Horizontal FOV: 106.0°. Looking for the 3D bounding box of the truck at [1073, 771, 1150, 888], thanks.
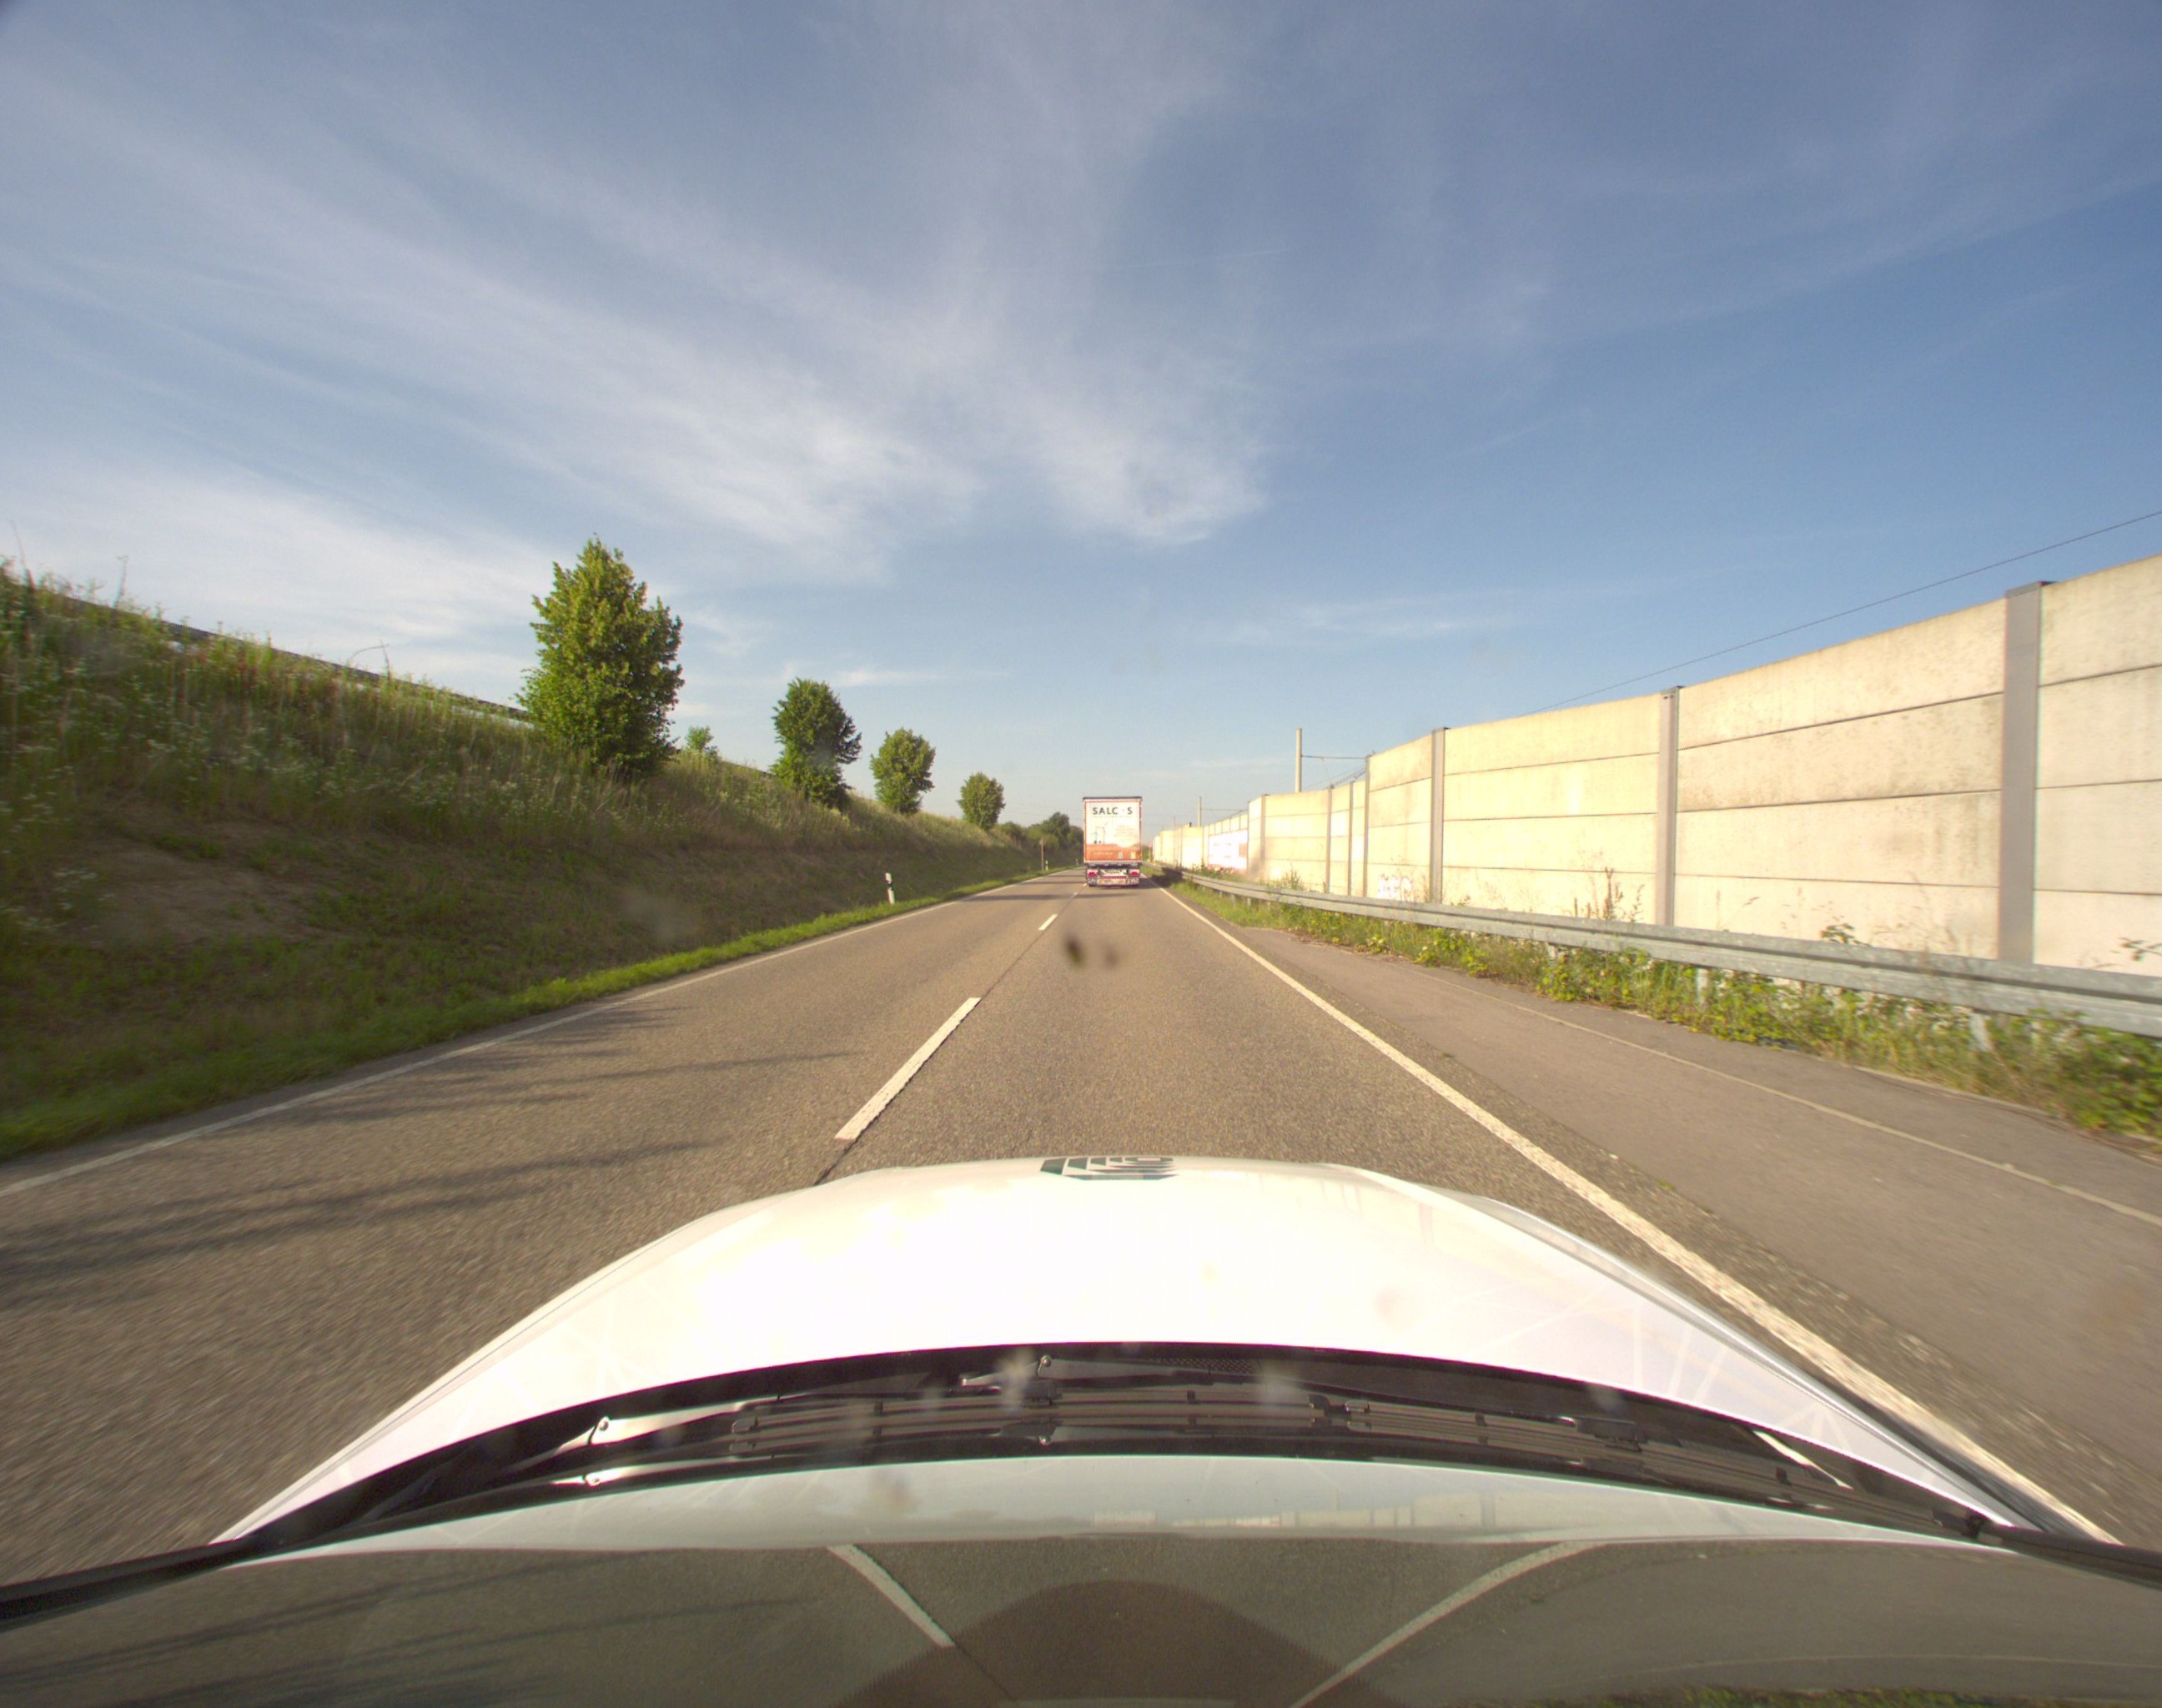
[{"bbox_3d":[1.477,-1.063,41.430,3.278,5.090,12.041,0,0,1],"label":"truck"}]
